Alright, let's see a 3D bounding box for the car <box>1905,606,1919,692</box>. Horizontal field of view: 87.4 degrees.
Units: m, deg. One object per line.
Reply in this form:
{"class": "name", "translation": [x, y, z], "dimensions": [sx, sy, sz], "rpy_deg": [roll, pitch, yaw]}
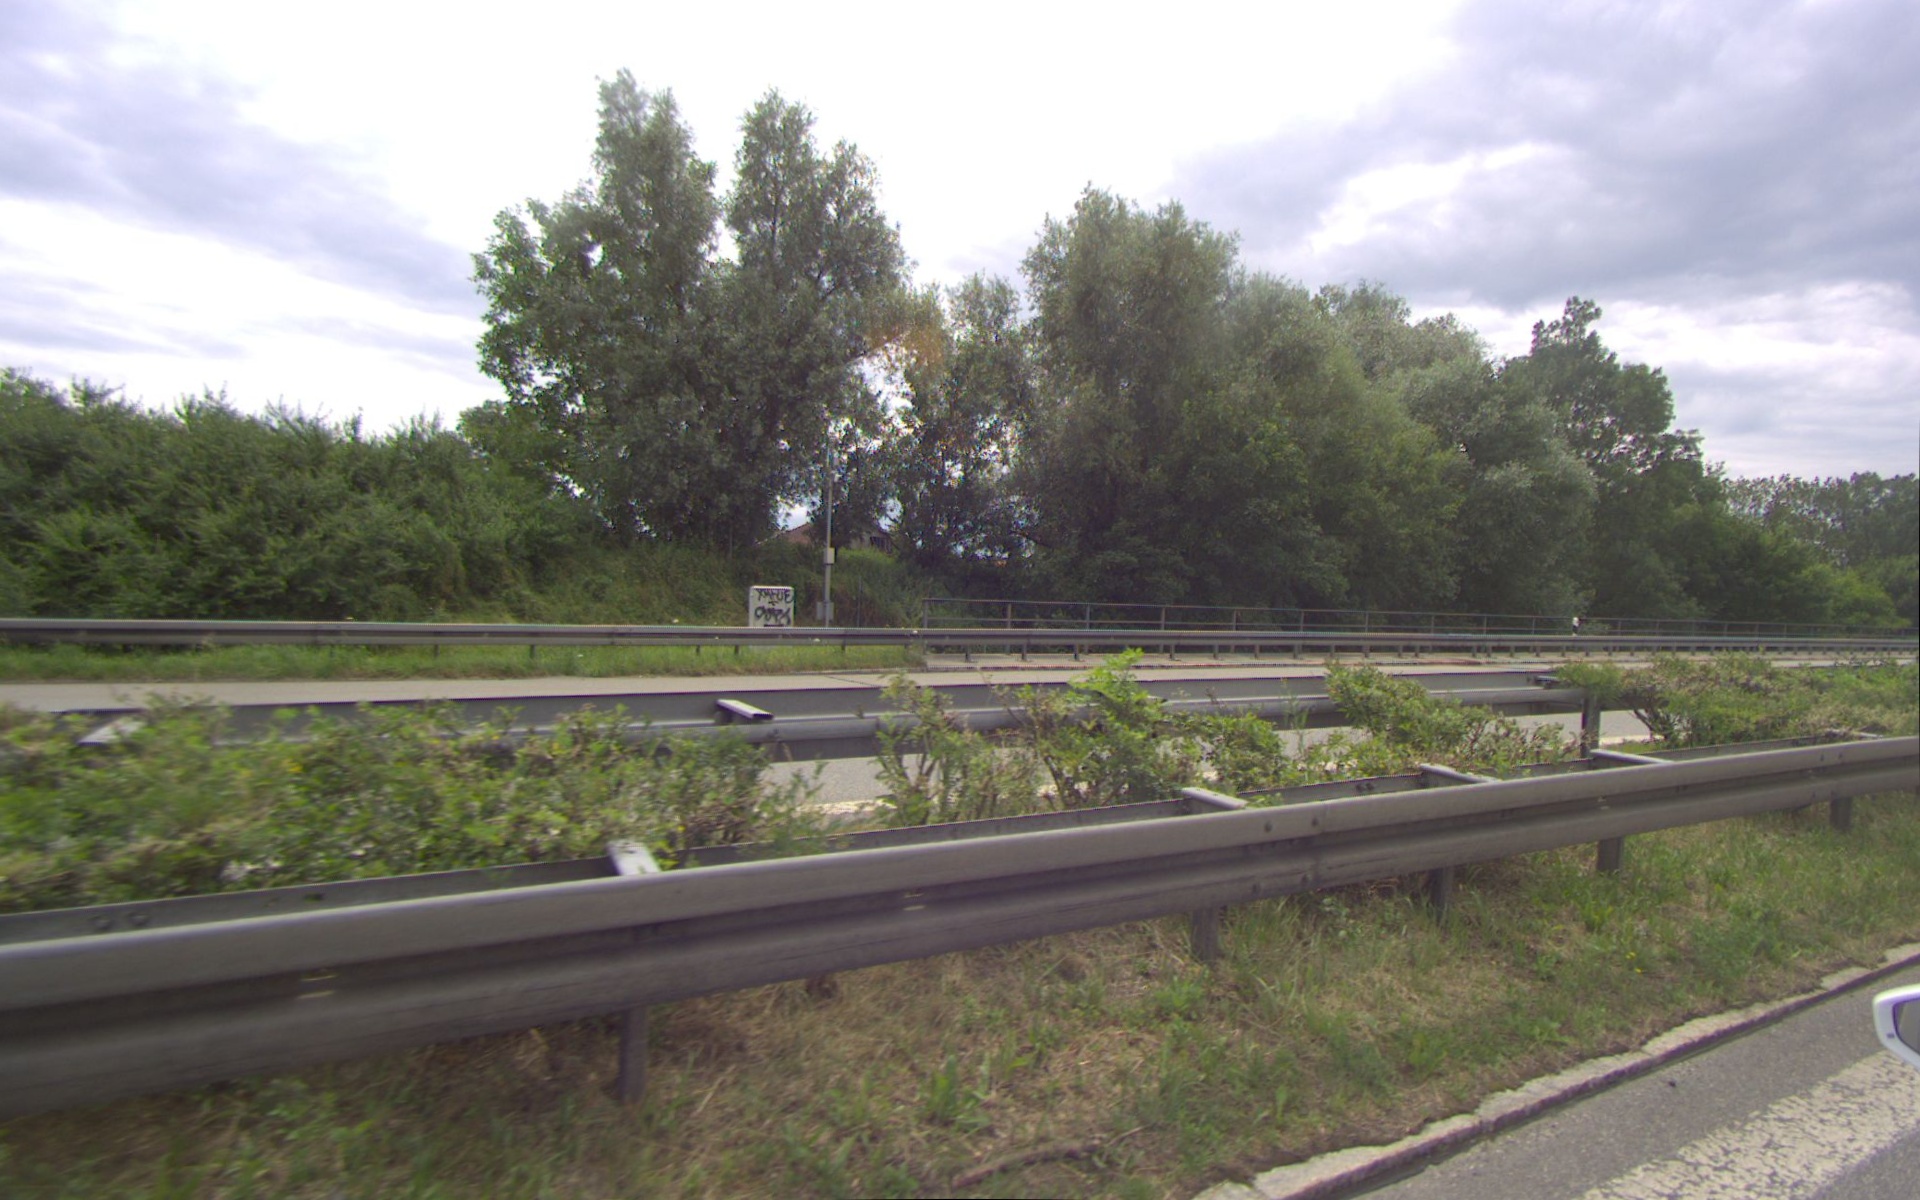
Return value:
{"class": "car", "translation": [20.821, 0.996, 19.993], "dimensions": [4.171, 1.673, 1.718], "rpy_deg": [1, 1, -29]}
